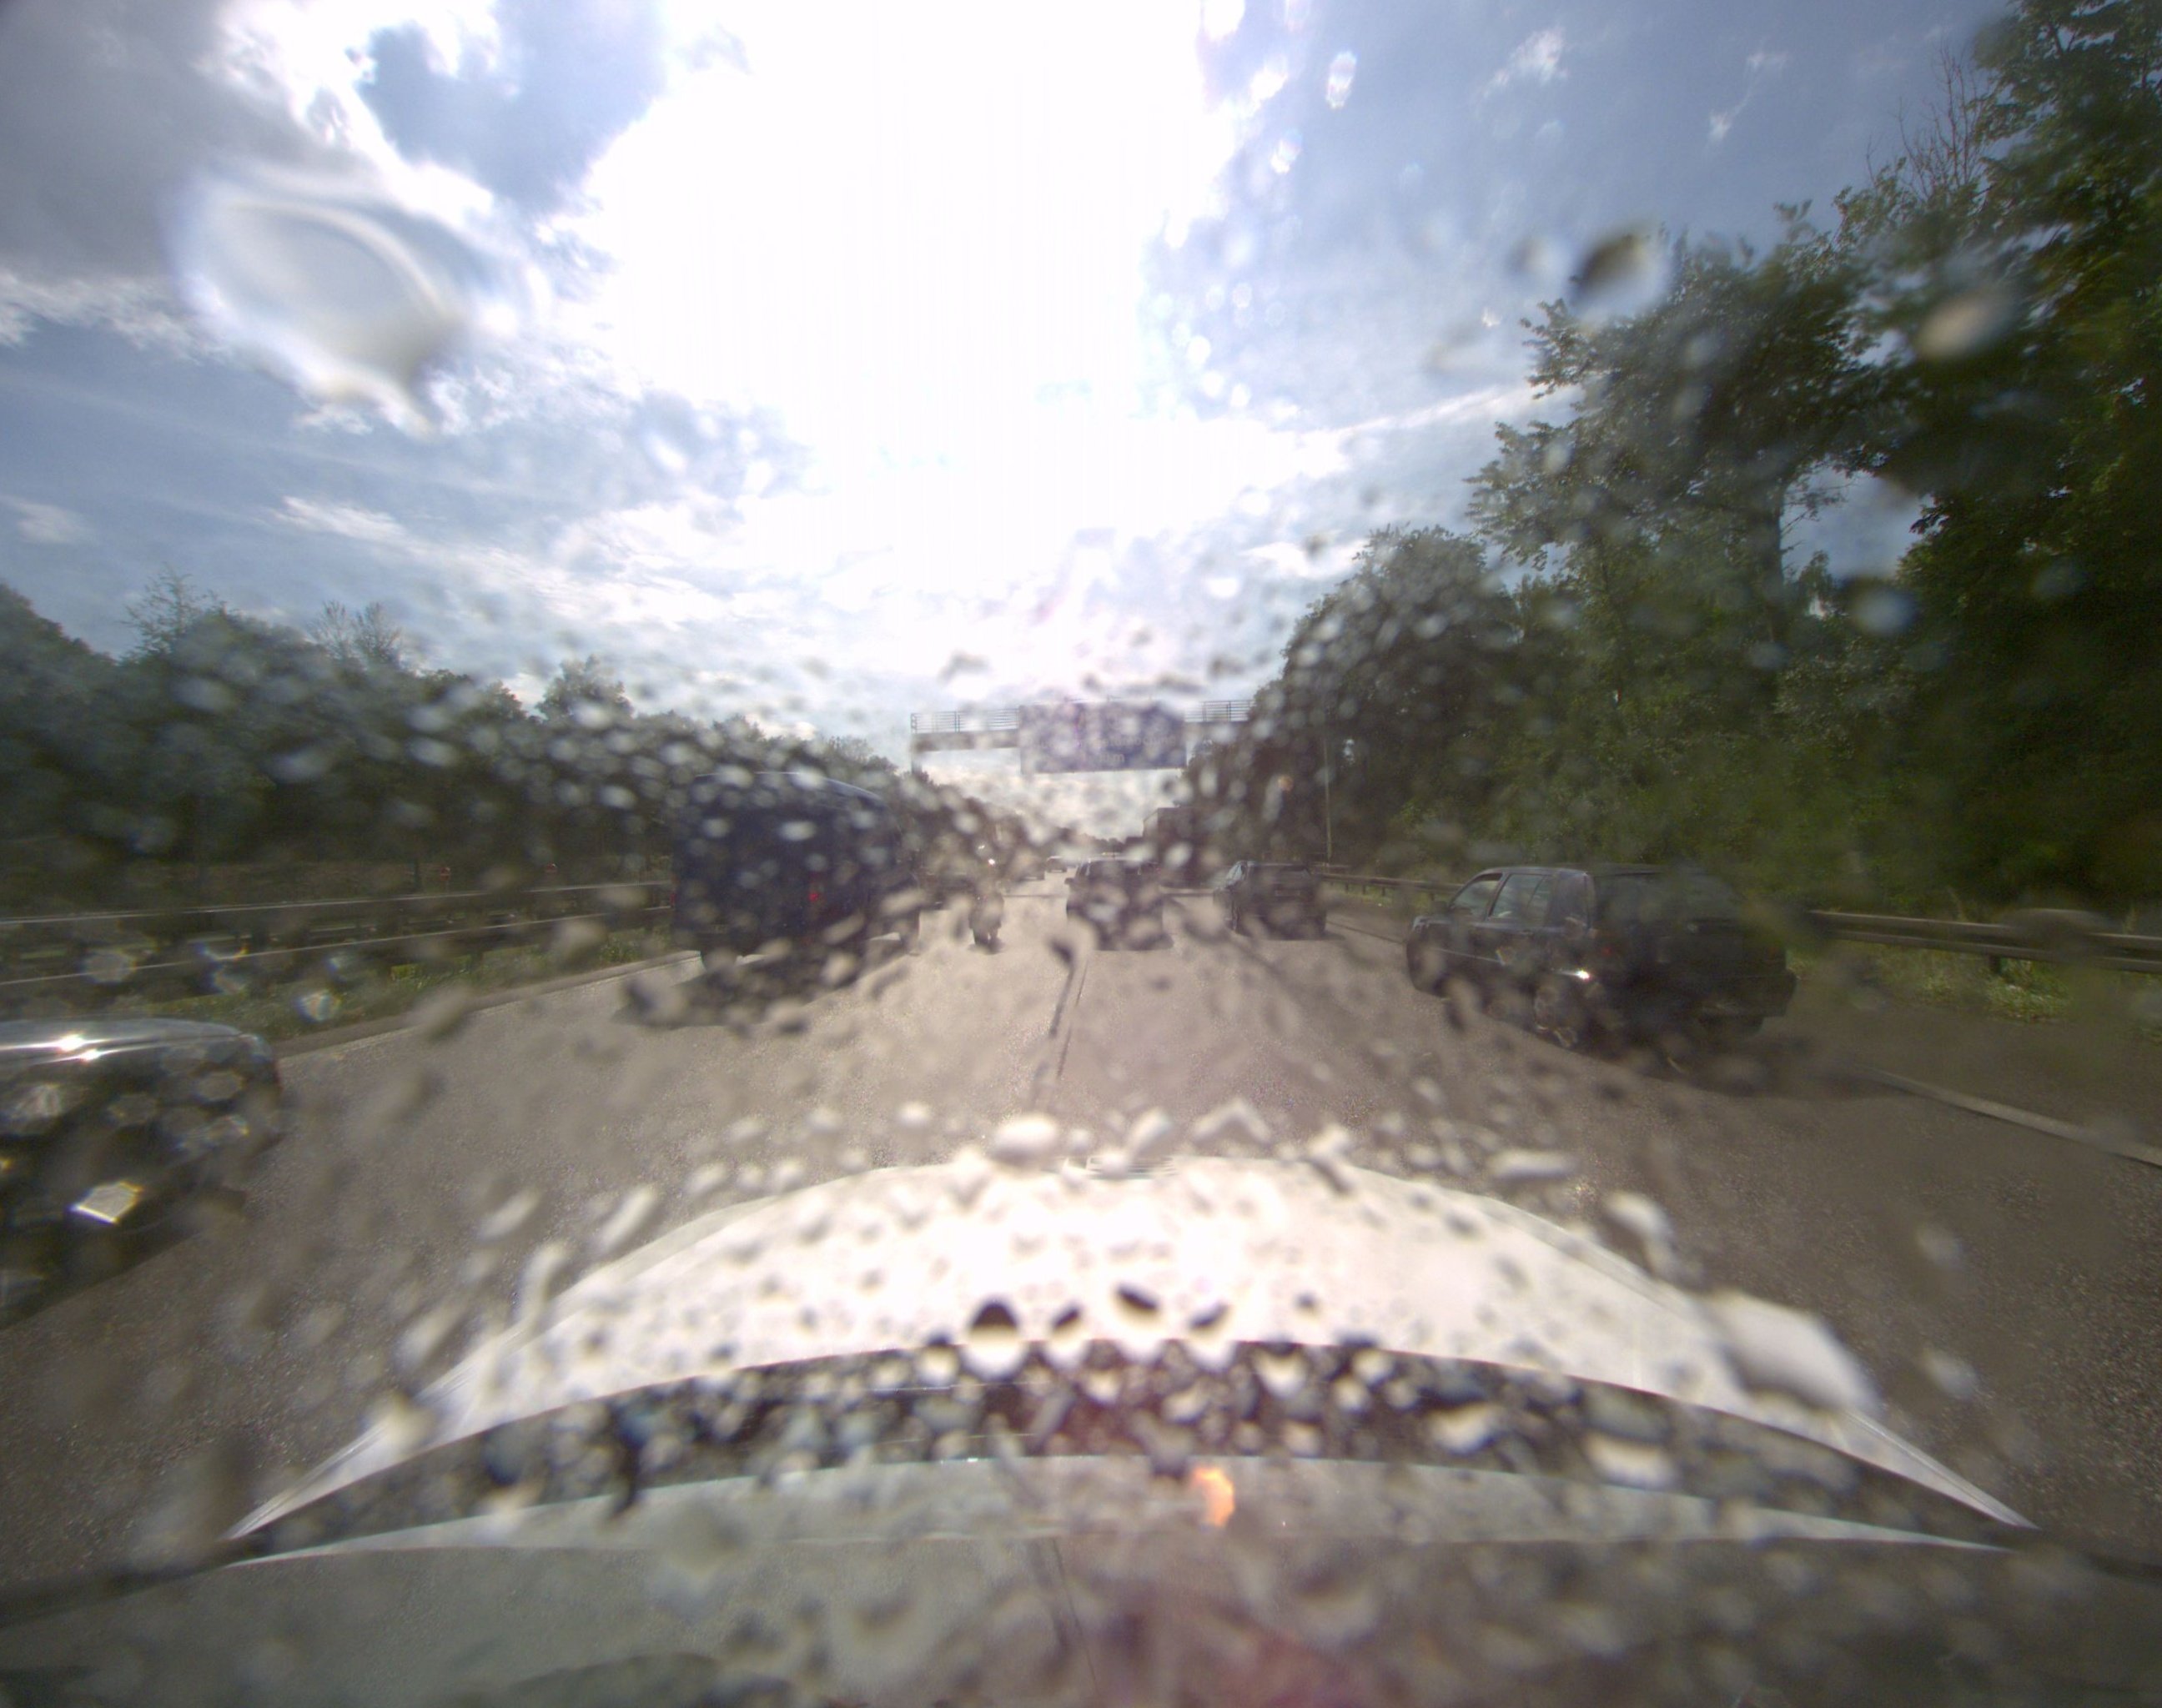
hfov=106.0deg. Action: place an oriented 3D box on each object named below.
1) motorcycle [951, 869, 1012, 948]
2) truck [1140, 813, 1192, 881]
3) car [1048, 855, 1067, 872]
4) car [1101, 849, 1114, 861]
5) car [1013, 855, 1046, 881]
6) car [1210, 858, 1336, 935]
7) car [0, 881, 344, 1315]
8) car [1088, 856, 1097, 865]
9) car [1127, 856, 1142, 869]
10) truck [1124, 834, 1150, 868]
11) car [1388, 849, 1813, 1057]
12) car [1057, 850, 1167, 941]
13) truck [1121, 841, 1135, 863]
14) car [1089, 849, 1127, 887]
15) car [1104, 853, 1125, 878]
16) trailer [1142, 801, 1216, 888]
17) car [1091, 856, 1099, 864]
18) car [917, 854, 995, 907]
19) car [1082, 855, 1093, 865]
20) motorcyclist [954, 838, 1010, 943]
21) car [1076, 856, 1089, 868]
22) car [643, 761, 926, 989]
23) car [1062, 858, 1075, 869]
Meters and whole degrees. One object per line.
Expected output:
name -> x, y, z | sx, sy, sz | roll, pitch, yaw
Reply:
motorcycle -> -1.738, 0.918, 14.509 | 0.817, 1.263, 2.117 | -1, 0, 0
truck -> 5.697, -0.411, 55.234 | 3.041, 4.325, 5.888 | -1, -1, 2
car -> -2.398, 0.936, 82.328 | 1.669, 1.597, 3.438 | -1, 0, 2
car -> 3.557, 0.124, 109.369 | 1.625, 1.490, 3.438 | -1, 0, 2
car -> -3.437, 0.907, 55.026 | 1.887, 1.628, 4.194 | -1, 0, 0
car -> 3.875, 0.794, 17.186 | 1.748, 1.396, 4.370 | -1, 0, 2
car -> -4.490, 0.843, 1.736 | 1.713, 1.411, 4.468 | -1, 0, 1
car -> 2.659, 1.520, 186.308 | 1.986, 2.014, 4.001 | -1, -1, 2
car -> 6.307, 0.984, 95.711 | 1.669, 1.490, 3.438 | -1, 0, 2
truck -> 7.644, -0.340, 112.113 | 3.189, 4.404, 9.438 | -1, 0, 3
car -> 4.410, 0.714, 7.686 | 1.645, 1.456, 3.745 | -1, 0, 1
car -> 0.617, 0.740, 16.410 | 1.908, 1.565, 4.315 | -1, 0, 2
truck -> 10.213, -0.339, 177.564 | 2.870, 4.687, 12.664 | -1, -1, 2
car -> 1.477, 0.767, 45.312 | 1.986, 2.014, 4.001 | -1, -1, 1
car -> 2.661, 0.903, 65.011 | 1.669, 1.936, 3.775 | -1, 0, 2
trailer -> 5.440, -0.443, 47.931 | 3.076, 4.312, 14.110 | -1, 0, 2
car -> 3.630, 1.481, 205.610 | 1.986, 2.014, 4.001 | -1, -1, 2
car -> -4.051, 0.819, 26.968 | 1.752, 1.595, 4.332 | -1, 0, 2
car -> 1.302, 1.241, 163.310 | 1.986, 2.014, 4.001 | -1, -1, 2
motorcyclist -> -1.739, 0.627, 14.467 | 0.819, 1.761, 1.390 | -1, -1, 0
car -> 0.289, 1.298, 139.943 | 1.986, 2.014, 4.001 | -1, -1, 2
car -> -4.038, 0.264, 12.454 | 2.008, 2.648, 5.779 | -1, 0, 2
car -> -1.731, 1.331, 114.721 | 1.669, 1.490, 3.438 | -1, 0, 2
